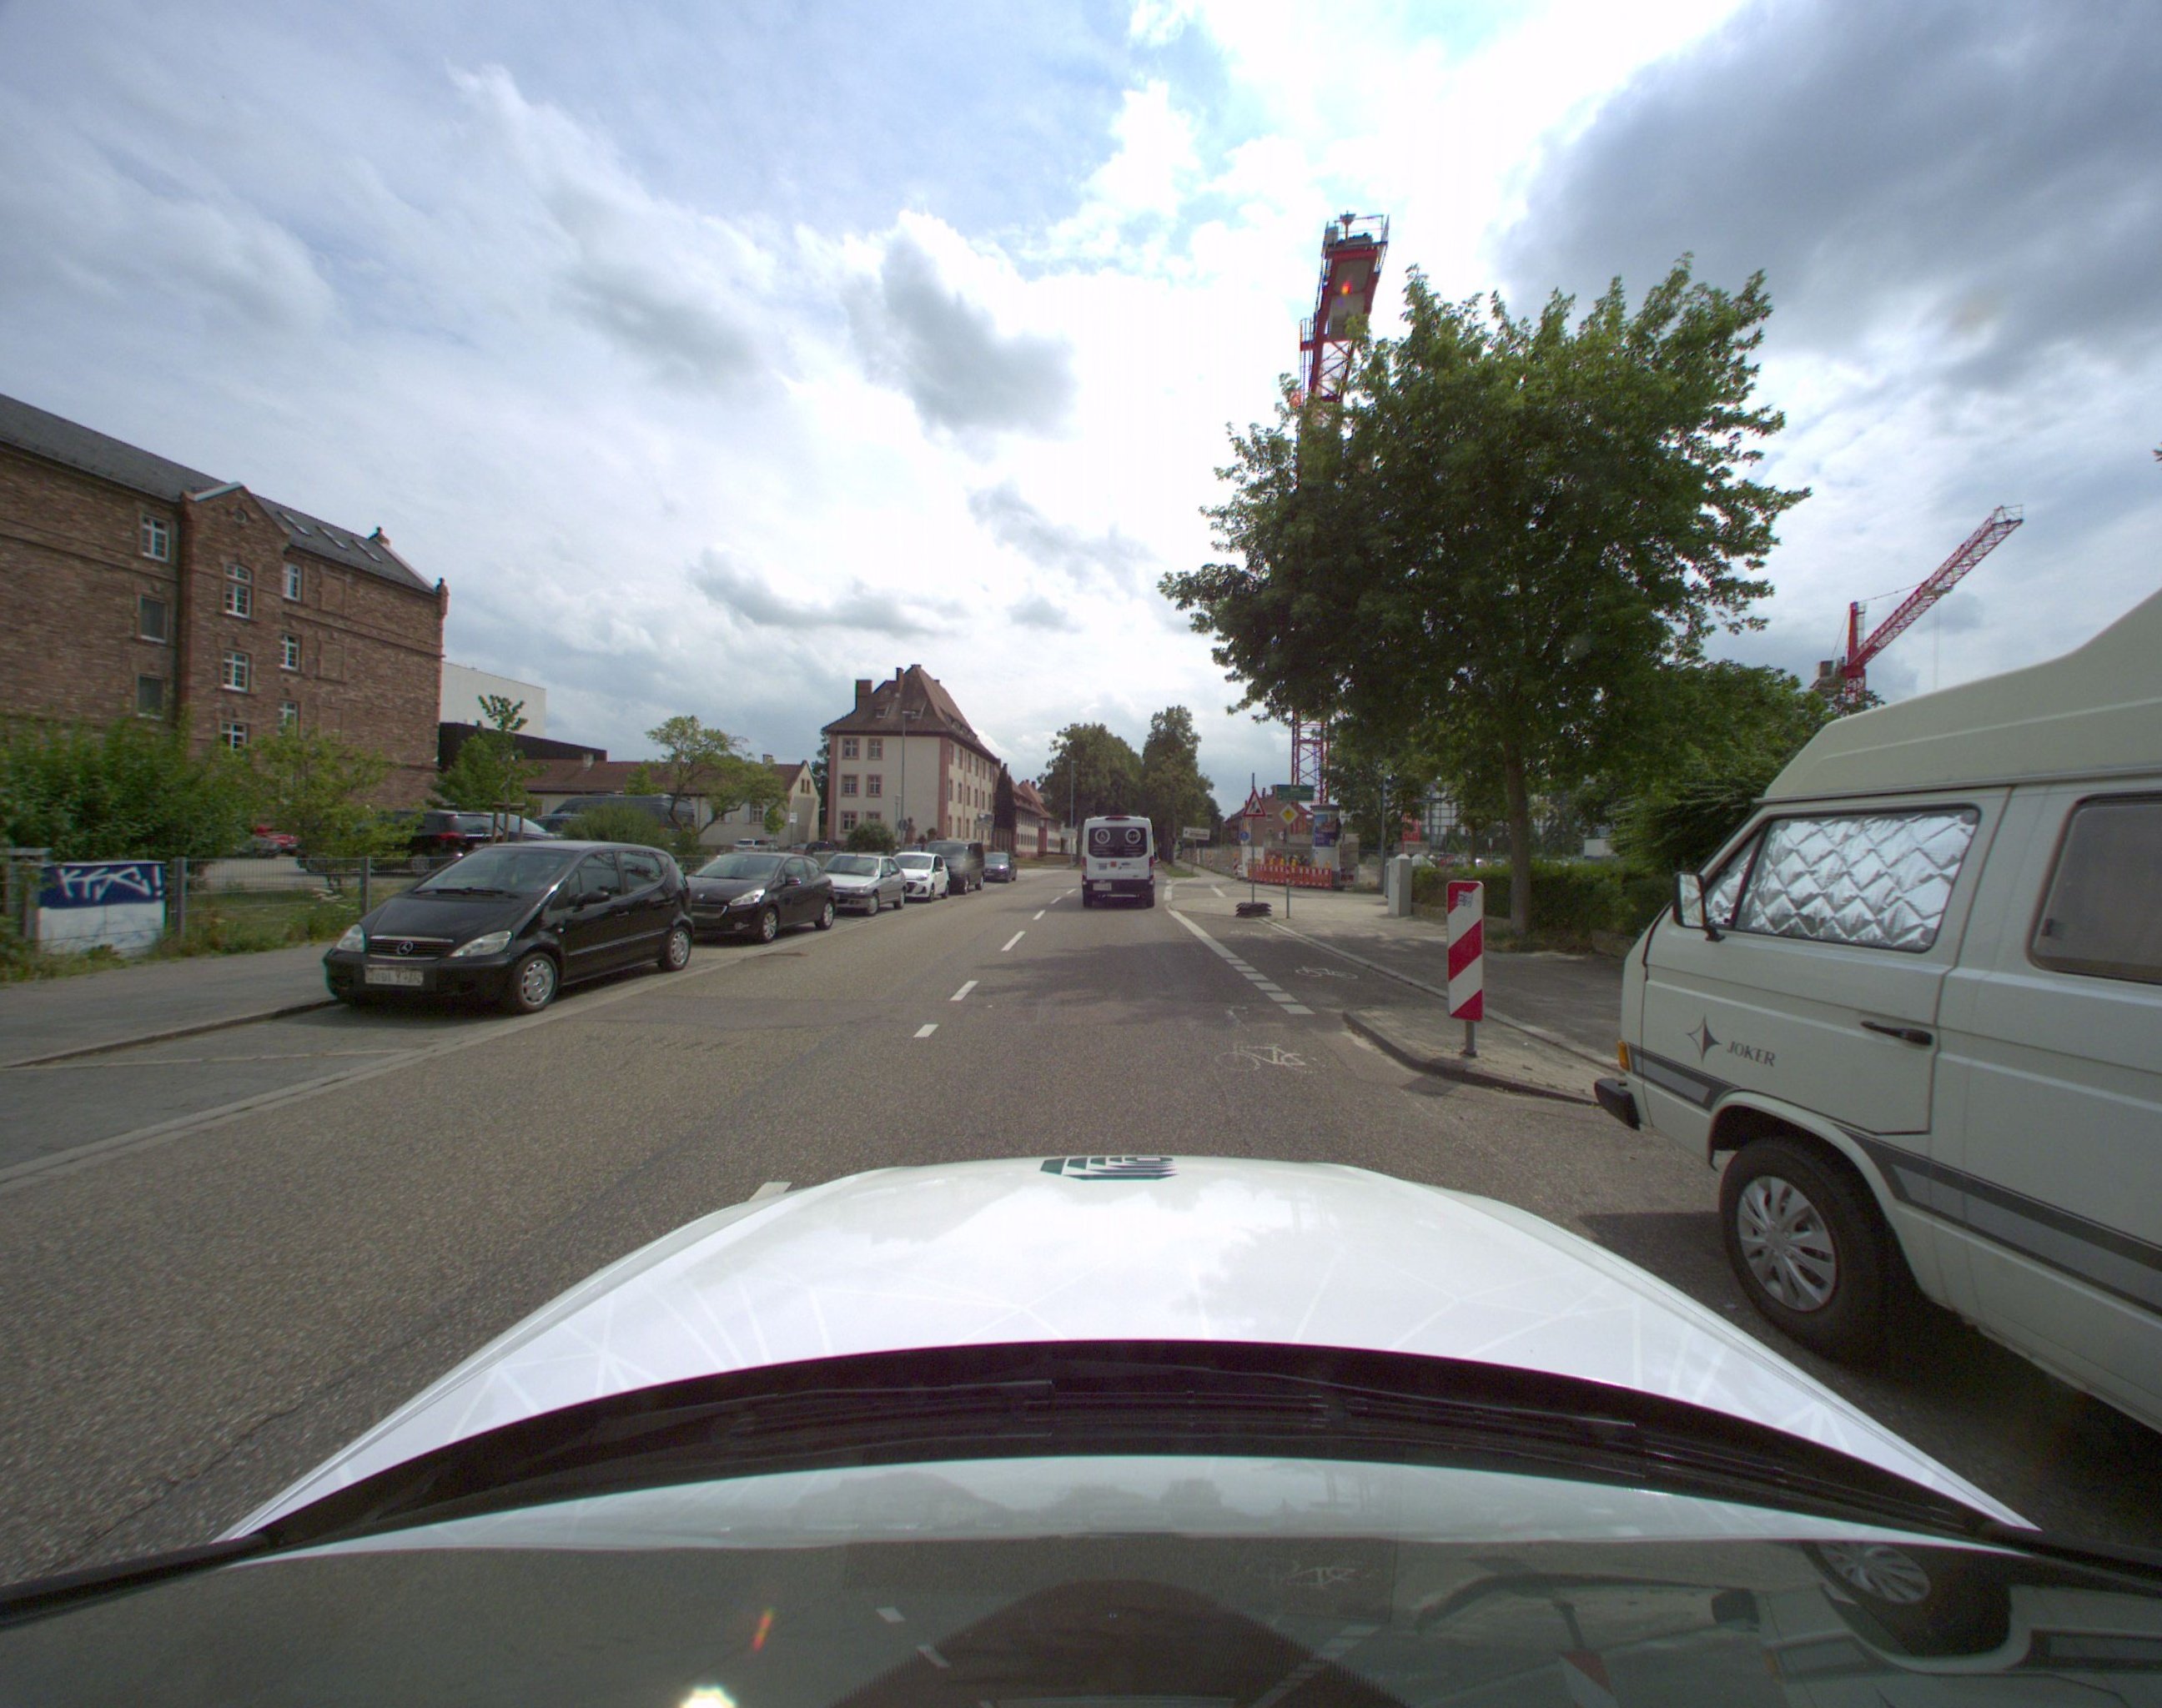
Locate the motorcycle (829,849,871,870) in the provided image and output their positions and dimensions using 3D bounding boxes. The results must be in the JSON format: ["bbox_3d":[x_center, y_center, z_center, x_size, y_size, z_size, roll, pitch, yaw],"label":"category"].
[{"bbox_3d":[-12.578,0.319,44.317,2.078,1.142,0.727,0,-1,8],"label":"motorcycle"}]

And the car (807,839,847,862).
[{"bbox_3d":[-21.259,-0.293,68.254,1.758,1.710,3.965,1,3,6],"label":"car"}]

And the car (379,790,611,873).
[{"bbox_3d":[-16.345,-0.626,22.891,5.059,2.149,2.233,1,0,6],"label":"car"}]

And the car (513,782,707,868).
[{"bbox_3d":[-16.286,-0.983,28.351,5.285,2.552,2.358,4,0,5],"label":"car"}]

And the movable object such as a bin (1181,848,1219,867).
[{"bbox_3d":[16.596,0.439,113.309,4.644,2.590,3.147,0,0,19],"label":"movable object such as a bin"}]

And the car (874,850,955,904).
[{"bbox_3d":[-5.229,0.675,26.073,1.647,1.529,3.767,2,1,2],"label":"car"}]

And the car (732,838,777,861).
[{"bbox_3d":[-27.632,-0.429,69.118,1.758,1.710,4.298,1,3,6],"label":"car"}]

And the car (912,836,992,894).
[{"bbox_3d":[-4.875,0.370,31.490,1.940,2.004,4.848,3,1,4],"label":"car"}]

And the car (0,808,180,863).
[{"bbox_3d":[-29.376,-0.534,23.912,4.137,1.483,1.618,2,-1,4],"label":"car"}]

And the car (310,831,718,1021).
[{"bbox_3d":[-5.715,0.614,8.938,1.617,1.575,4.000,1,0,0],"label":"car"}]

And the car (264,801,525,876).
[{"bbox_3d":[-17.047,-0.385,20.363,5.059,1.673,2.005,1,0,6],"label":"car"}]

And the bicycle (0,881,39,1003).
[{"bbox_3d":[-9.378,0.734,6.002,0.621,1.001,2.082,3,0,2],"label":"bicycle"}]

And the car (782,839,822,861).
[{"bbox_3d":[-23.610,-0.360,68.977,1.758,1.710,3.703,1,3,6],"label":"car"}]

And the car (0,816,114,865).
[{"bbox_3d":[-39.377,-0.502,30.681,4.337,1.784,1.730,0,0,8],"label":"car"}]

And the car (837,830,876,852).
[{"bbox_3d":[-18.653,-1.092,67.860,1.758,1.710,3.965,1,3,6],"label":"car"}]

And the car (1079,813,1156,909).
[{"bbox_3d":[1.031,0.204,23.707,2.055,2.540,4.001,0,0,1],"label":"car"}]

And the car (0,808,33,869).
[{"bbox_3d":[-40.261,-0.556,28.690,4.337,2.136,2.209,0,0,8],"label":"car"}]

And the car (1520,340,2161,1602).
[{"bbox_3d":[3.181,0.255,1.663,1.888,2.602,4.906,4,0,1],"label":"car"}]

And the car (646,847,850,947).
[{"bbox_3d":[-5.690,0.653,14.532,1.679,1.470,4.053,2,0,4],"label":"car"}]

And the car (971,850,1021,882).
[{"bbox_3d":[-4.275,0.575,41.610,1.815,1.473,4.300,3,0,3],"label":"car"}]

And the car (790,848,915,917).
[{"bbox_3d":[-5.454,0.616,20.001,1.680,1.457,4.266,2,0,2],"label":"car"}]
